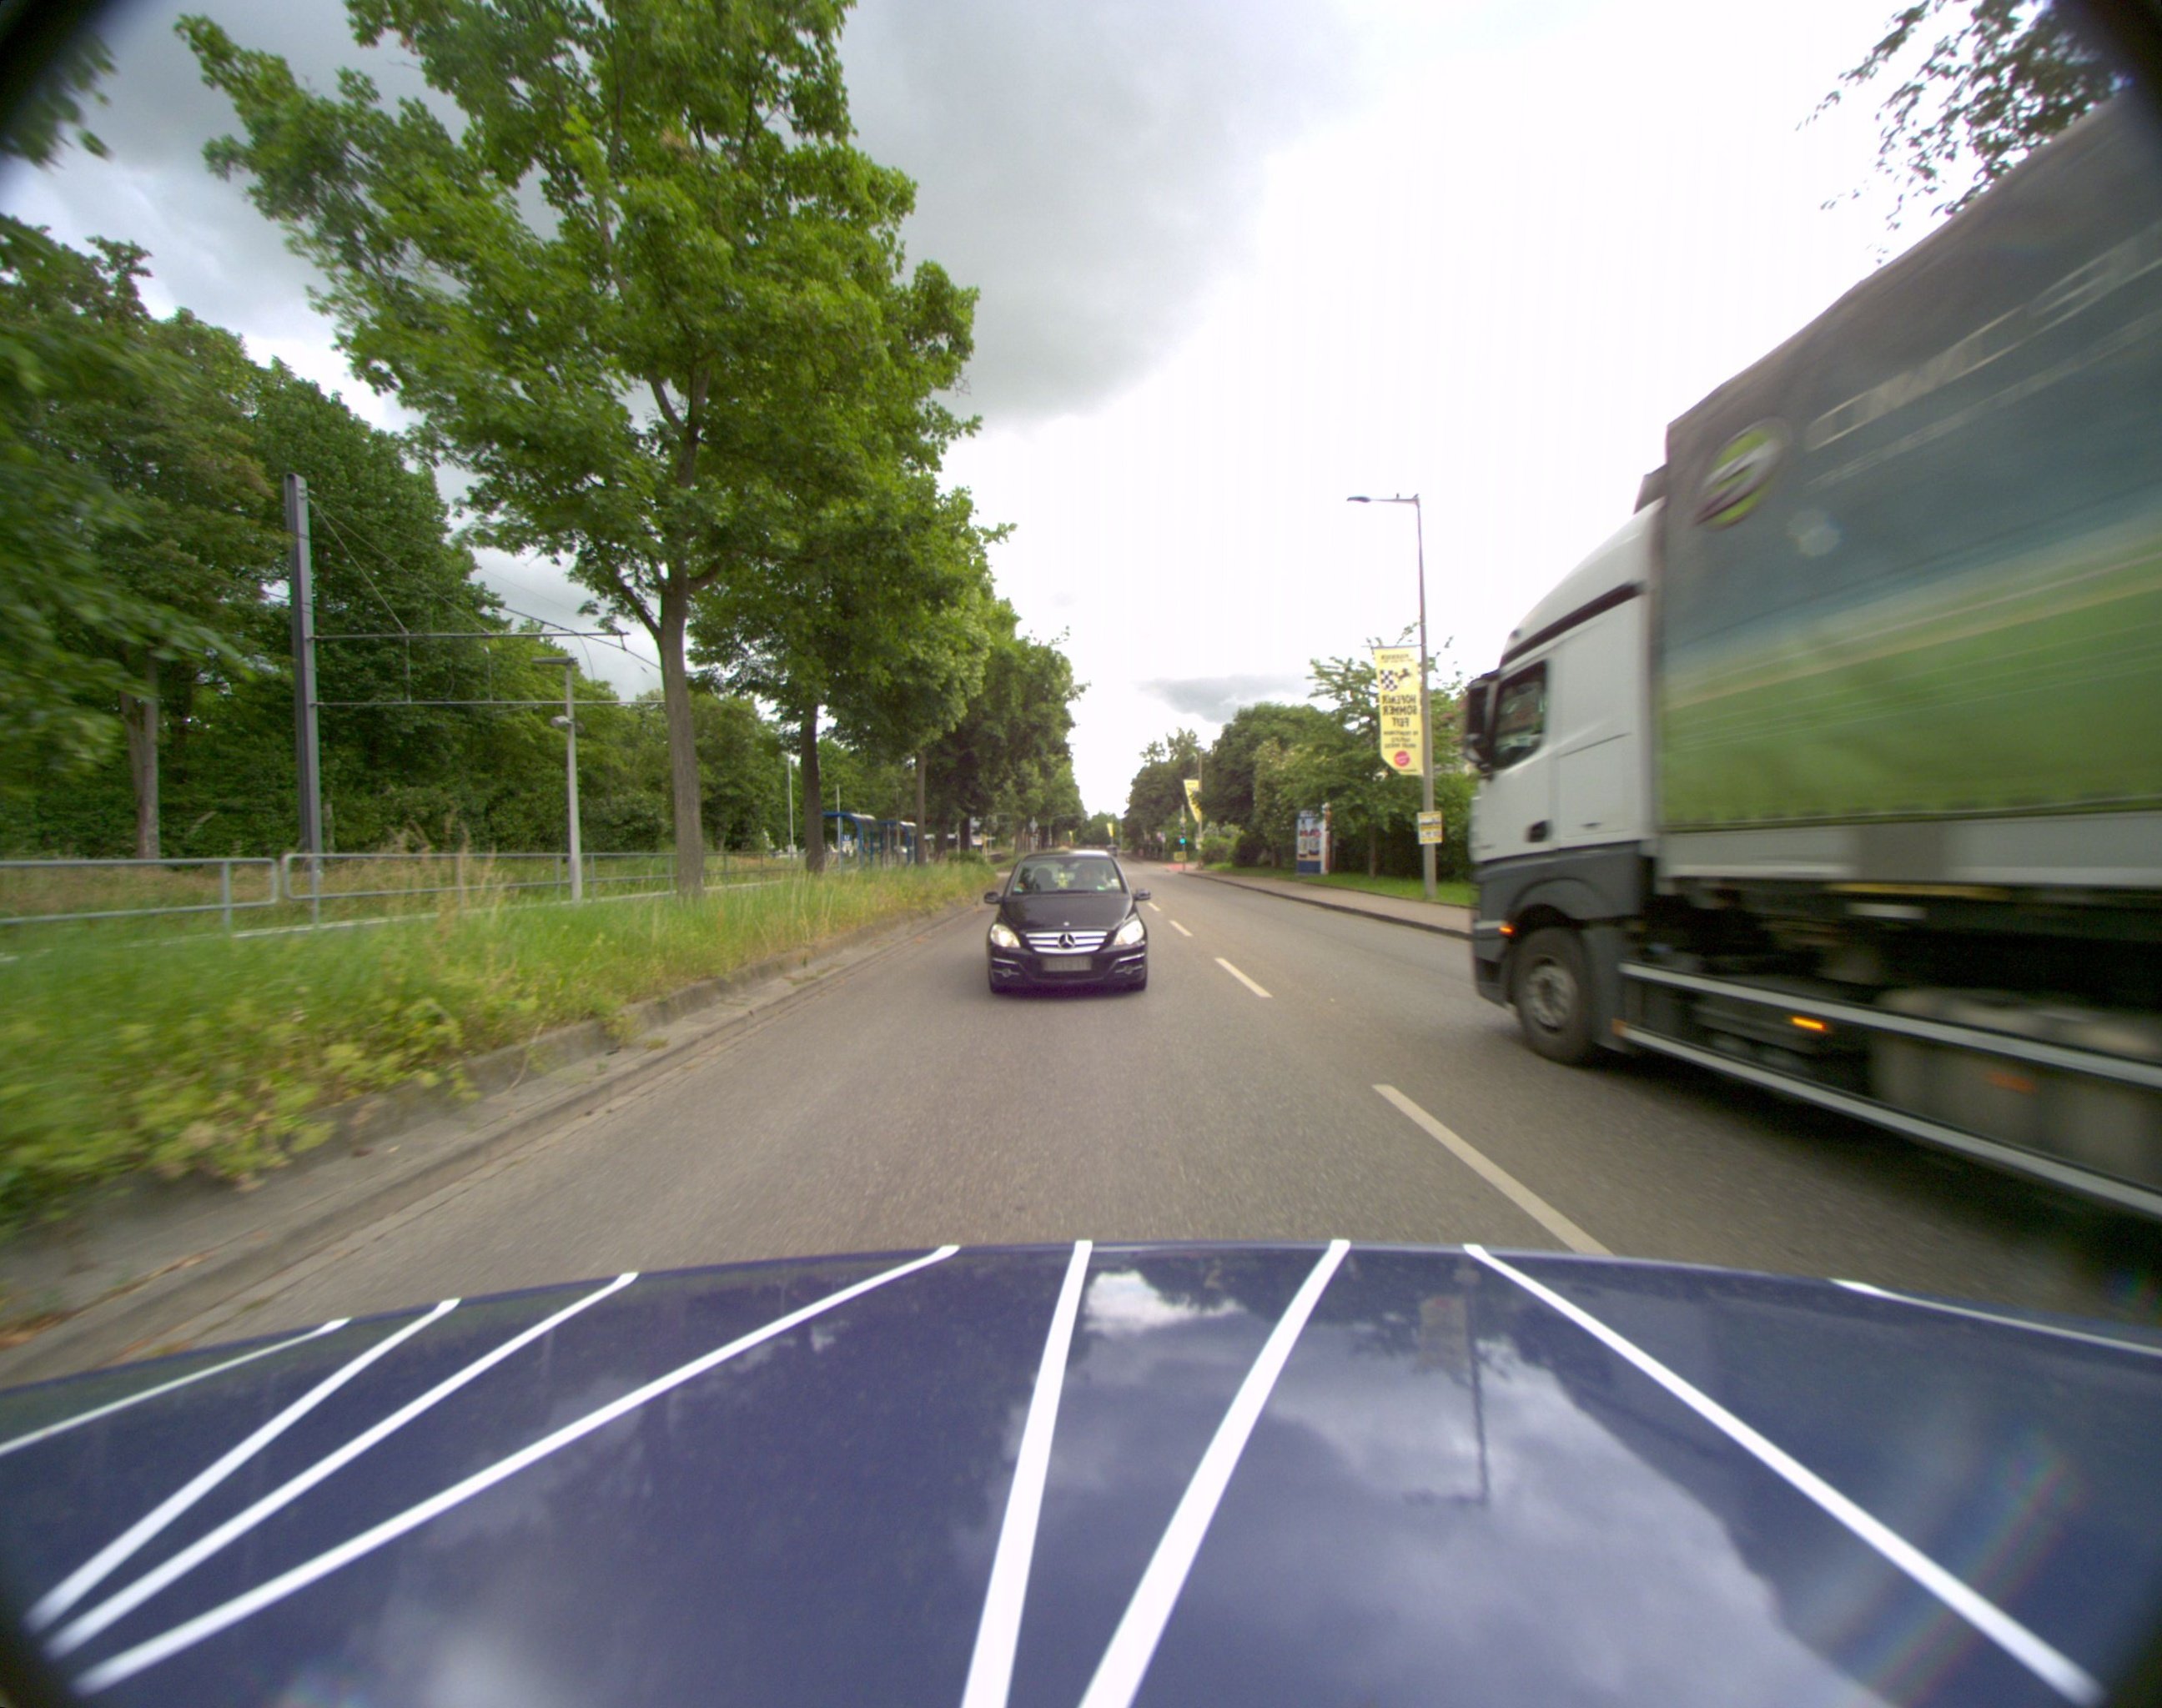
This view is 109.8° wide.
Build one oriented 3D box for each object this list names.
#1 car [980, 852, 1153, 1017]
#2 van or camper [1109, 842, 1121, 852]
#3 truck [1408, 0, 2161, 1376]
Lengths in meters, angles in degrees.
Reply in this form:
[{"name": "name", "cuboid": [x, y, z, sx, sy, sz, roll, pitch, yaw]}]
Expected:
[{"name": "car", "cuboid": [-0.149, 0.805, 9.884, 1.683, 1.565, 4.482, -2, 1, 0]}, {"name": "van or camper", "cuboid": [6.129, -1.272, 138.239, 1.918, 1.888, 4.811, -2, 1, 0]}, {"name": "truck", "cuboid": [4.421, -0.478, 1.797, 2.556, 4.021, 10.617, 1, 1, 0]}]
